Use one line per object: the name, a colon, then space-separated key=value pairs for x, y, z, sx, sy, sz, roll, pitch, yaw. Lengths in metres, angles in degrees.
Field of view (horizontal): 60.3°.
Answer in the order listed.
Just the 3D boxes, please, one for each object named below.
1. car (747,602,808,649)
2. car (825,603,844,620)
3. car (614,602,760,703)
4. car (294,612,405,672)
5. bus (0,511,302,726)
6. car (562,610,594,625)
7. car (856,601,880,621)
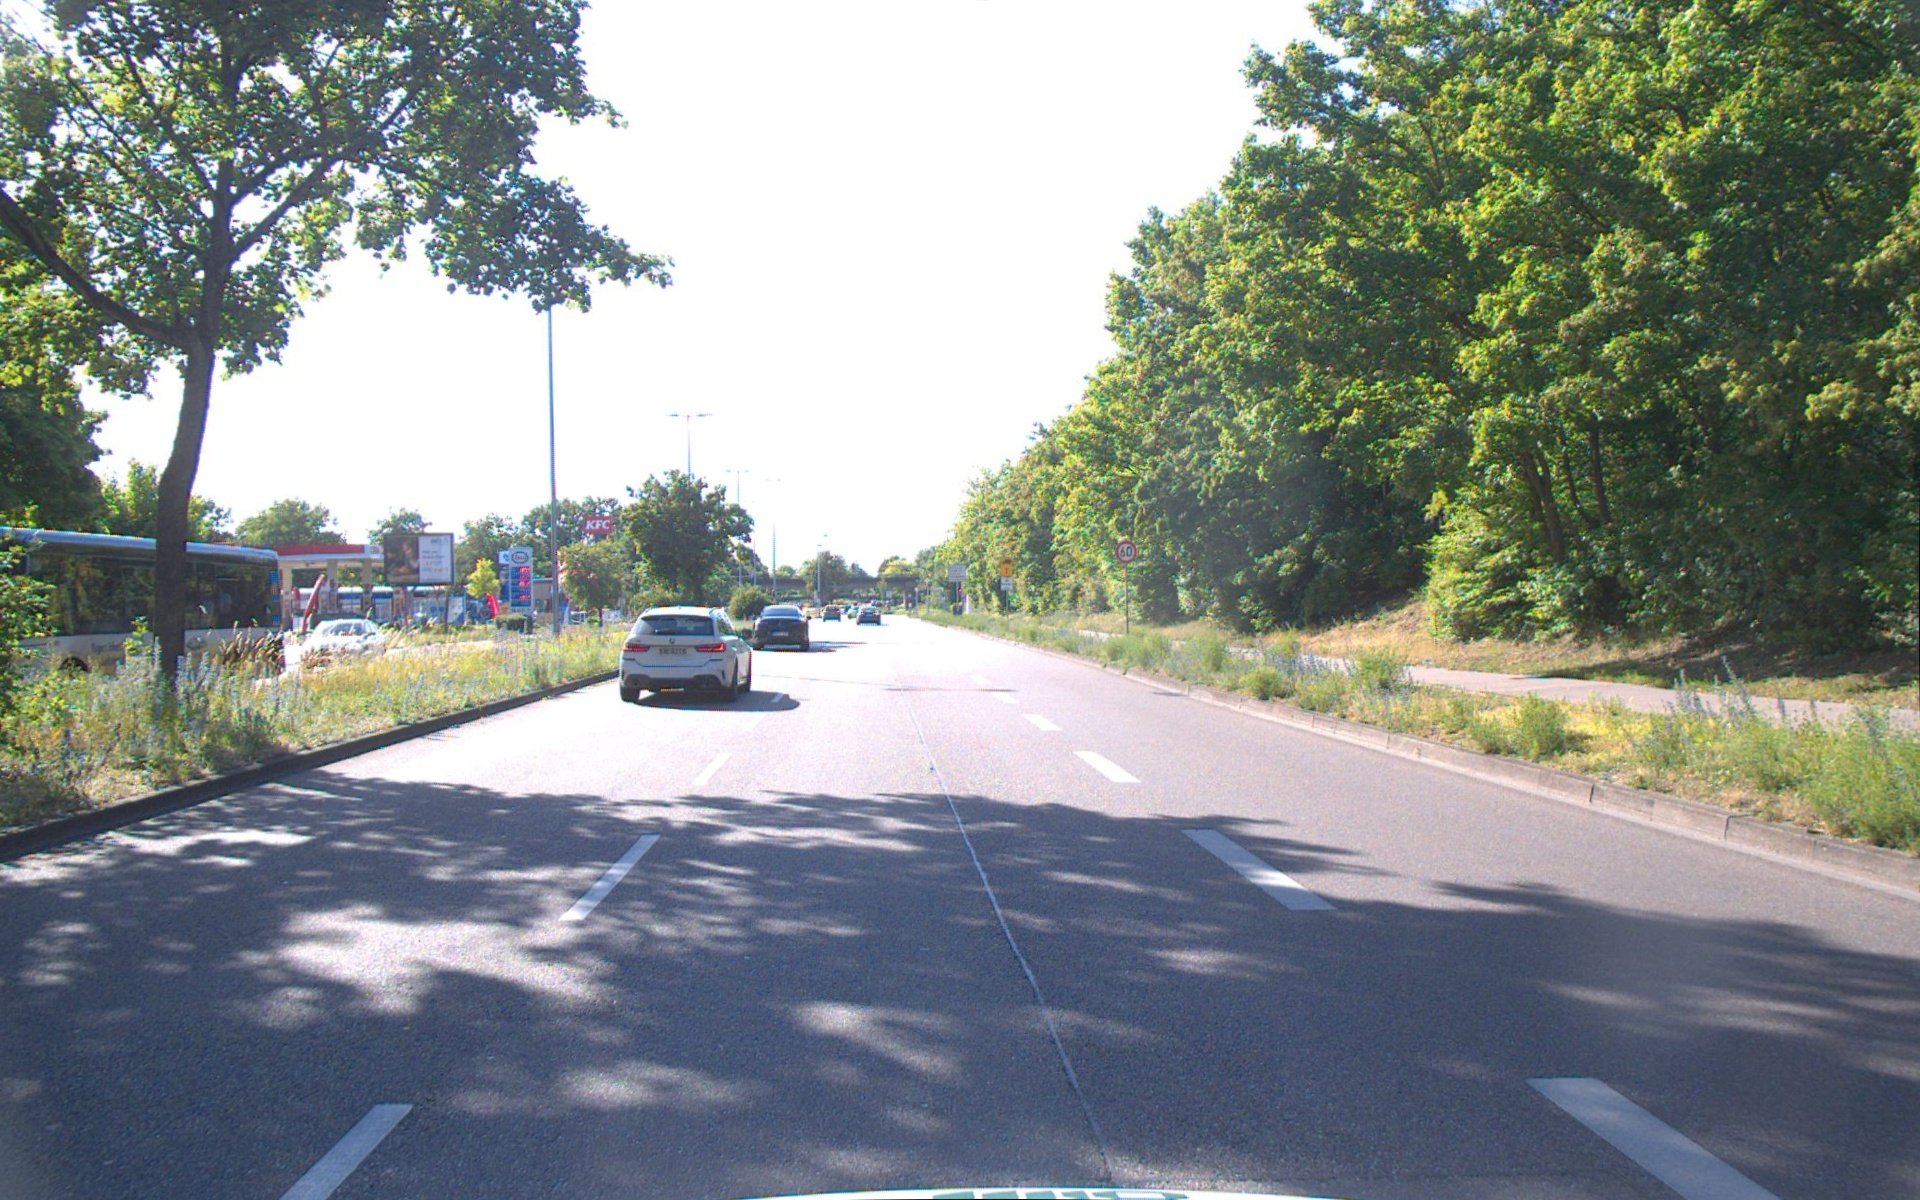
car: x=-6.080 y=0.817 z=55.502 sx=1.825 sy=1.480 sz=4.544 roll=-1 pitch=0 yaw=-4
car: x=-12.427 y=1.116 z=163.803 sx=1.825 sy=1.592 sz=4.544 roll=-1 pitch=0 yaw=-4
car: x=-4.370 y=0.796 z=27.115 sx=1.824 sy=1.480 sz=4.545 roll=0 pitch=0 yaw=-3
car: x=-18.091 y=1.205 z=49.217 sx=1.721 sy=1.546 sz=4.526 roll=-3 pitch=1 yaw=-3
bus: x=-13.948 y=0.303 z=26.750 sx=2.668 sy=2.768 sz=11.079 roll=-4 pitch=0 yaw=-4
car: x=-46.471 y=2.158 z=201.335 sx=4.015 sy=1.814 sz=1.915 roll=-1 pitch=0 yaw=43
car: x=-7.174 y=0.862 z=129.157 sx=1.825 sy=1.525 sz=4.333 roll=-1 pitch=0 yaw=-4
